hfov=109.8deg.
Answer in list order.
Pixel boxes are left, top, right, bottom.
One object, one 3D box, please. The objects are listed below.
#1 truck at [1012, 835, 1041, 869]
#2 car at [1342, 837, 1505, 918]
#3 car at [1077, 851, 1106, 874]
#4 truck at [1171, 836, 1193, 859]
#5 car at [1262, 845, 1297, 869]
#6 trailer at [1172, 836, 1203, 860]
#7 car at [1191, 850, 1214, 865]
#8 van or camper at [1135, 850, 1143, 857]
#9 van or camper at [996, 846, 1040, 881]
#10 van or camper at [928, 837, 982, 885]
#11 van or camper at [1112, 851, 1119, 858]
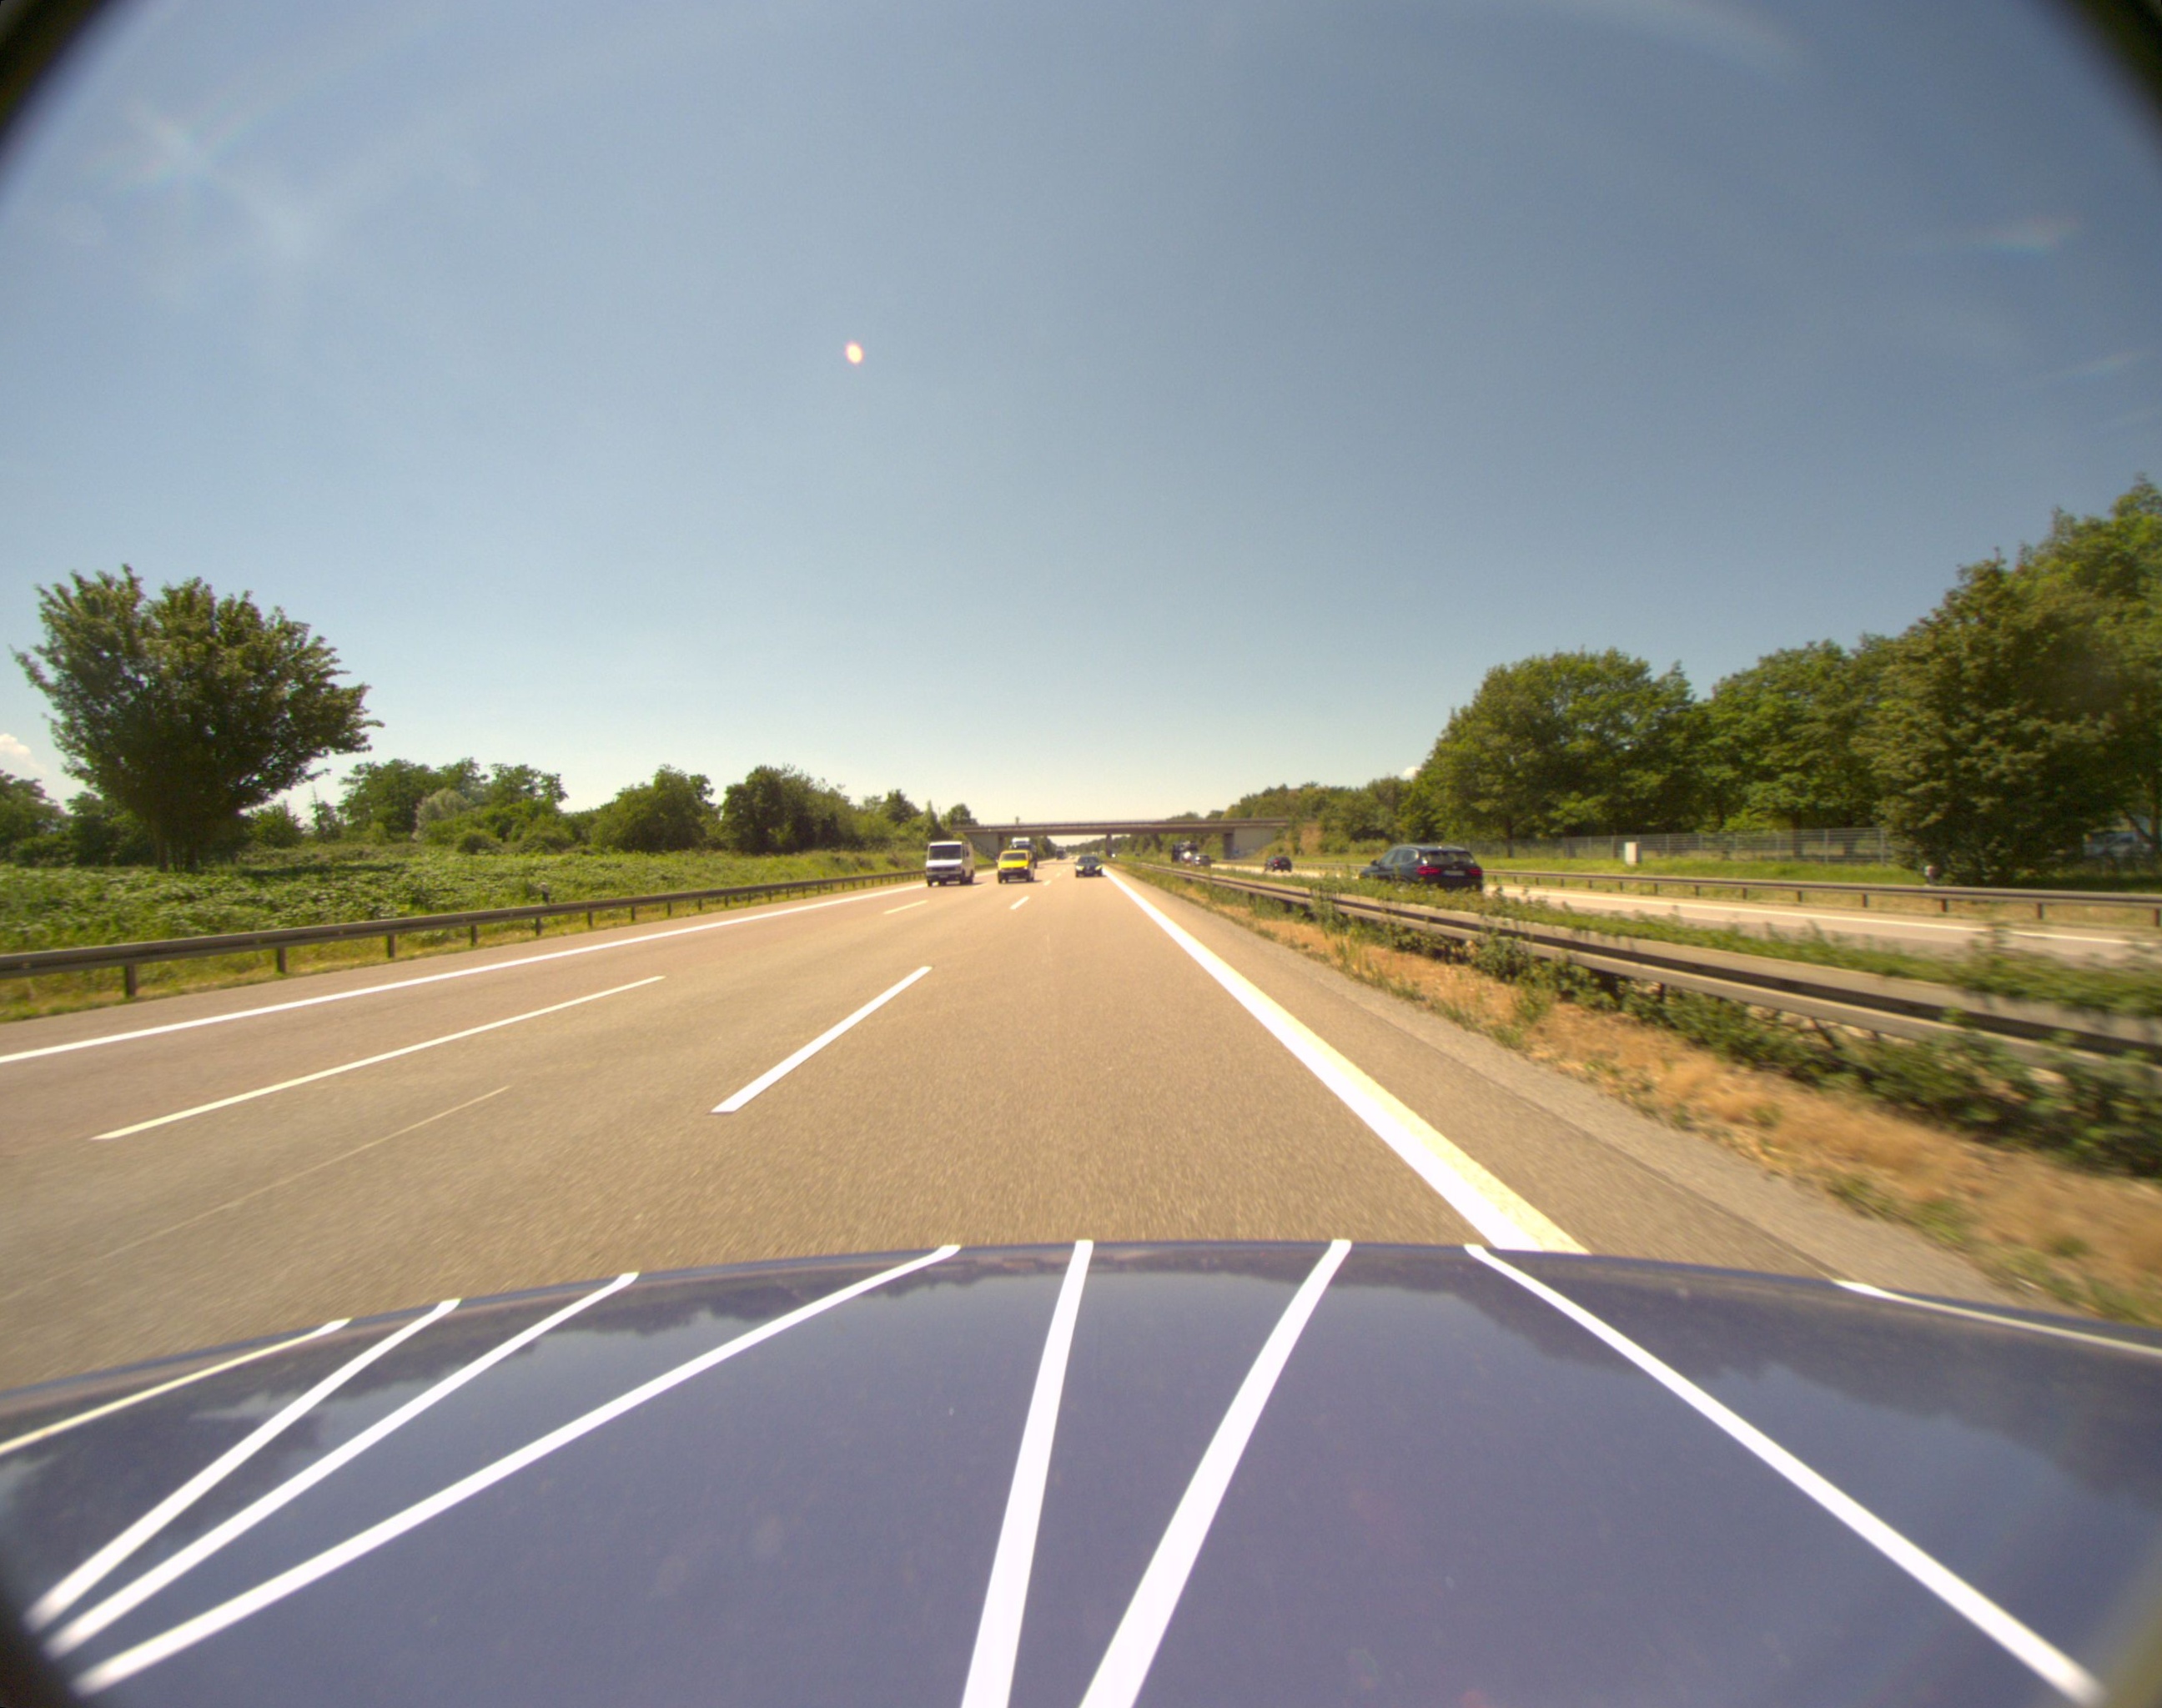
[{"bbox_3d":[-7.117,-0.283,101.443,2.806,4.022,13.352,-3,0,0],"label":"truck"},{"bbox_3d":[9.298,0.546,21.282,1.998,1.875,5.647,-3,0,1],"label":"car"},{"bbox_3d":[0.679,0.558,52.616,1.894,1.541,4.038,0,0,-1],"label":"car"},{"bbox_3d":[18.711,-1.201,141.111,2.886,3.952,7.371,2,0,0],"label":"truck"},{"bbox_3d":[17.806,0.269,68.304,1.998,2.002,4.272,1,1,0],"label":"car"},{"bbox_3d":[18.676,-1.066,134.695,2.886,3.955,17.472,2,0,0],"label":"trailer"},{"bbox_3d":[13.466,0.366,84.324,1.797,1.569,4.211,0,0,0],"label":"car"},{"bbox_3d":[16.217,-0.144,212.663,1.999,1.859,4.455,0,0,-1],"label":"van or camper"},{"bbox_3d":[-3.812,0.551,47.003,2.063,1.992,5.883,-2,0,1],"label":"van or camper"},{"bbox_3d":[-7.604,0.391,46.573,2.119,2.687,6.366,-2,0,0],"label":"van or camper"},{"bbox_3d":[10.163,0.097,223.158,1.715,1.759,3.999,-3,1,0],"label":"van or camper"}]
